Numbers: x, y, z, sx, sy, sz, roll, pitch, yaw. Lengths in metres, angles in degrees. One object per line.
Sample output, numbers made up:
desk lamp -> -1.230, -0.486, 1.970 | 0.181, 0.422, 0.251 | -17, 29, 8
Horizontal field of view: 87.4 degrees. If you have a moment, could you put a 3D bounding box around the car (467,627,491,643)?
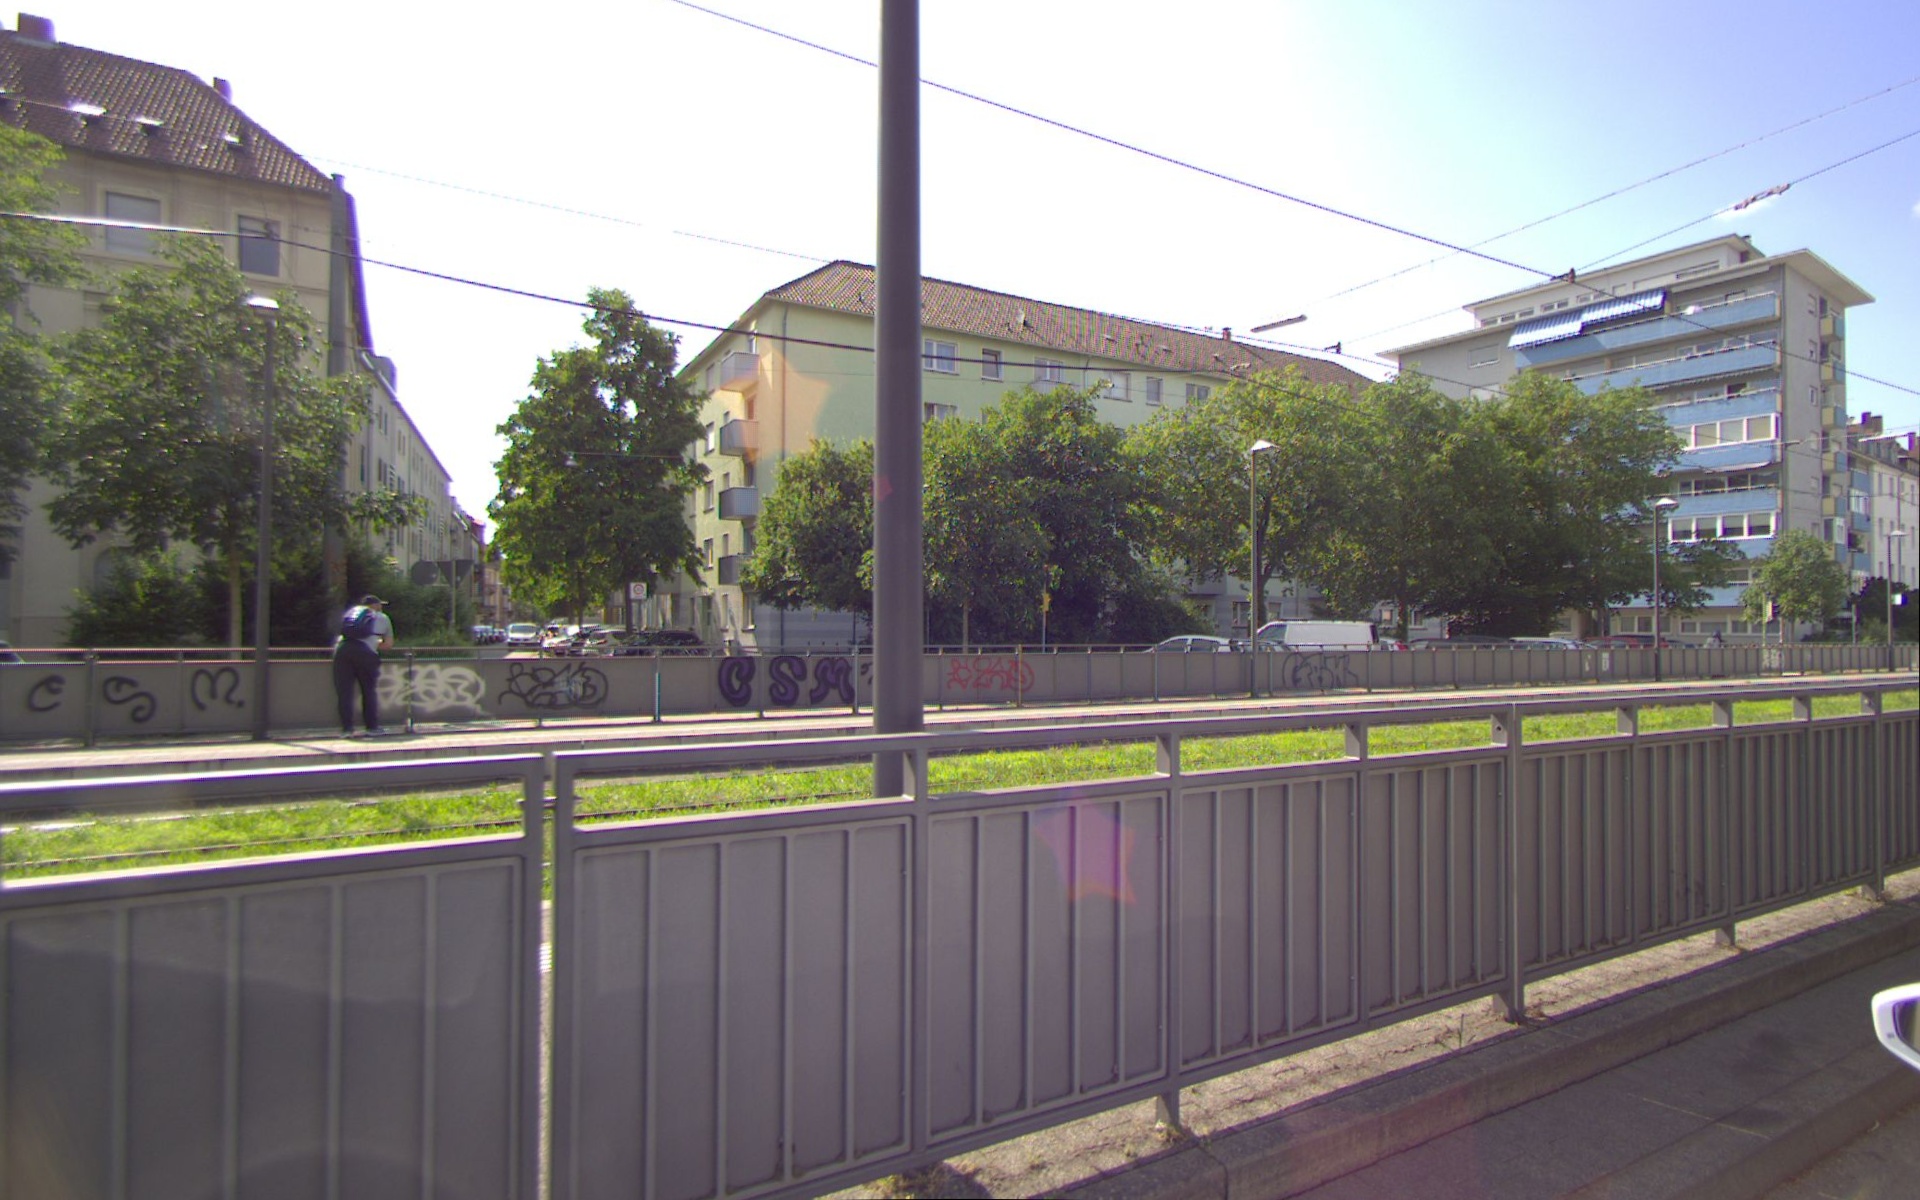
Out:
car -> -46.302, 3.388, 96.709 | 1.797, 1.498, 3.980 | 1, -3, -22

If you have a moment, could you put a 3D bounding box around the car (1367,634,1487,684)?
car -> 15.923, 1.981, 34.268 | 3.601, 1.600, 1.646 | -1, -2, 30

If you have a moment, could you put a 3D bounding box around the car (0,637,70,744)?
car -> -16.229, 1.361, 15.538 | 4.071, 1.585, 1.927 | -1, -3, 20

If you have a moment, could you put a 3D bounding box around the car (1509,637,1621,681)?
car -> 23.167, 2.231, 38.580 | 3.601, 1.600, 1.646 | -1, -2, 30

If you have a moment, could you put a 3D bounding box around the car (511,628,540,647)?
car -> -31.558, 2.727, 72.978 | 1.847, 1.383, 3.978 | 1, -2, -23

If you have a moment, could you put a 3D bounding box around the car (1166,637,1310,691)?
car -> 8.352, 1.887, 30.208 | 3.926, 1.505, 1.607 | -1, -2, 27

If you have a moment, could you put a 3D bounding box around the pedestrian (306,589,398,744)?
pedestrian -> -6.676, 0.711, 11.035 | 0.790, 1.599, 0.983 | 2, -2, -32

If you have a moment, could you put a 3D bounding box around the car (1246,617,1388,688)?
car -> 11.131, 1.590, 31.350 | 3.880, 2.097, 2.047 | -1, -2, 29

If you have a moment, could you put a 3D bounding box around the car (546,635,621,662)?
car -> -19.550, 2.513, 52.274 | 1.549, 1.340, 3.614 | -1, -2, 24

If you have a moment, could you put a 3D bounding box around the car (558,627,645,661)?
car -> -17.807, 2.170, 50.052 | 1.838, 1.639, 3.998 | -1, -2, 24

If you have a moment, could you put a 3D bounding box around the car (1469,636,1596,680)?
car -> 21.070, 2.113, 37.062 | 3.957, 1.534, 1.606 | -1, -2, 31

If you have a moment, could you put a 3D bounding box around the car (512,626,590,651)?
car -> -23.533, 2.227, 57.955 | 1.838, 1.383, 3.998 | -1, -2, 24

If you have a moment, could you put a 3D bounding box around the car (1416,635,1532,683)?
car -> 18.249, 2.062, 35.713 | 3.601, 1.600, 1.646 | -1, -2, 30

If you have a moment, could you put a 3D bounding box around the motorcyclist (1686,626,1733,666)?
motorcyclist -> 25.481, 1.563, 34.160 | 0.974, 1.357, 0.934 | 1, -2, -29

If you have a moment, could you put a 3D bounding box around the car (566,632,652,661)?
car -> -16.496, 2.179, 47.398 | 1.549, 1.340, 3.998 | -1, -2, 24

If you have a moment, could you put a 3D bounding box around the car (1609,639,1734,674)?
car -> 30.107, 2.363, 42.636 | 4.054, 1.412, 1.609 | -1, -2, 22

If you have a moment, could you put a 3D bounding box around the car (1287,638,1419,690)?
car -> 12.991, 2.073, 33.200 | 3.880, 1.600, 1.716 | -1, -2, 29

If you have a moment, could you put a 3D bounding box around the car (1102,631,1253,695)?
car -> 6.194, 1.738, 28.613 | 3.923, 1.662, 1.826 | -1, 0, 24

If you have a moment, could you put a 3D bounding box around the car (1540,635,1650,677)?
car -> 25.196, 2.193, 39.976 | 3.601, 1.600, 1.646 | -1, -2, 30

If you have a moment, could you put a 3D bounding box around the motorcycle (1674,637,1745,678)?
motorcycle -> 25.469, 1.939, 34.113 | 2.487, 1.357, 1.010 | 1, -2, -30
